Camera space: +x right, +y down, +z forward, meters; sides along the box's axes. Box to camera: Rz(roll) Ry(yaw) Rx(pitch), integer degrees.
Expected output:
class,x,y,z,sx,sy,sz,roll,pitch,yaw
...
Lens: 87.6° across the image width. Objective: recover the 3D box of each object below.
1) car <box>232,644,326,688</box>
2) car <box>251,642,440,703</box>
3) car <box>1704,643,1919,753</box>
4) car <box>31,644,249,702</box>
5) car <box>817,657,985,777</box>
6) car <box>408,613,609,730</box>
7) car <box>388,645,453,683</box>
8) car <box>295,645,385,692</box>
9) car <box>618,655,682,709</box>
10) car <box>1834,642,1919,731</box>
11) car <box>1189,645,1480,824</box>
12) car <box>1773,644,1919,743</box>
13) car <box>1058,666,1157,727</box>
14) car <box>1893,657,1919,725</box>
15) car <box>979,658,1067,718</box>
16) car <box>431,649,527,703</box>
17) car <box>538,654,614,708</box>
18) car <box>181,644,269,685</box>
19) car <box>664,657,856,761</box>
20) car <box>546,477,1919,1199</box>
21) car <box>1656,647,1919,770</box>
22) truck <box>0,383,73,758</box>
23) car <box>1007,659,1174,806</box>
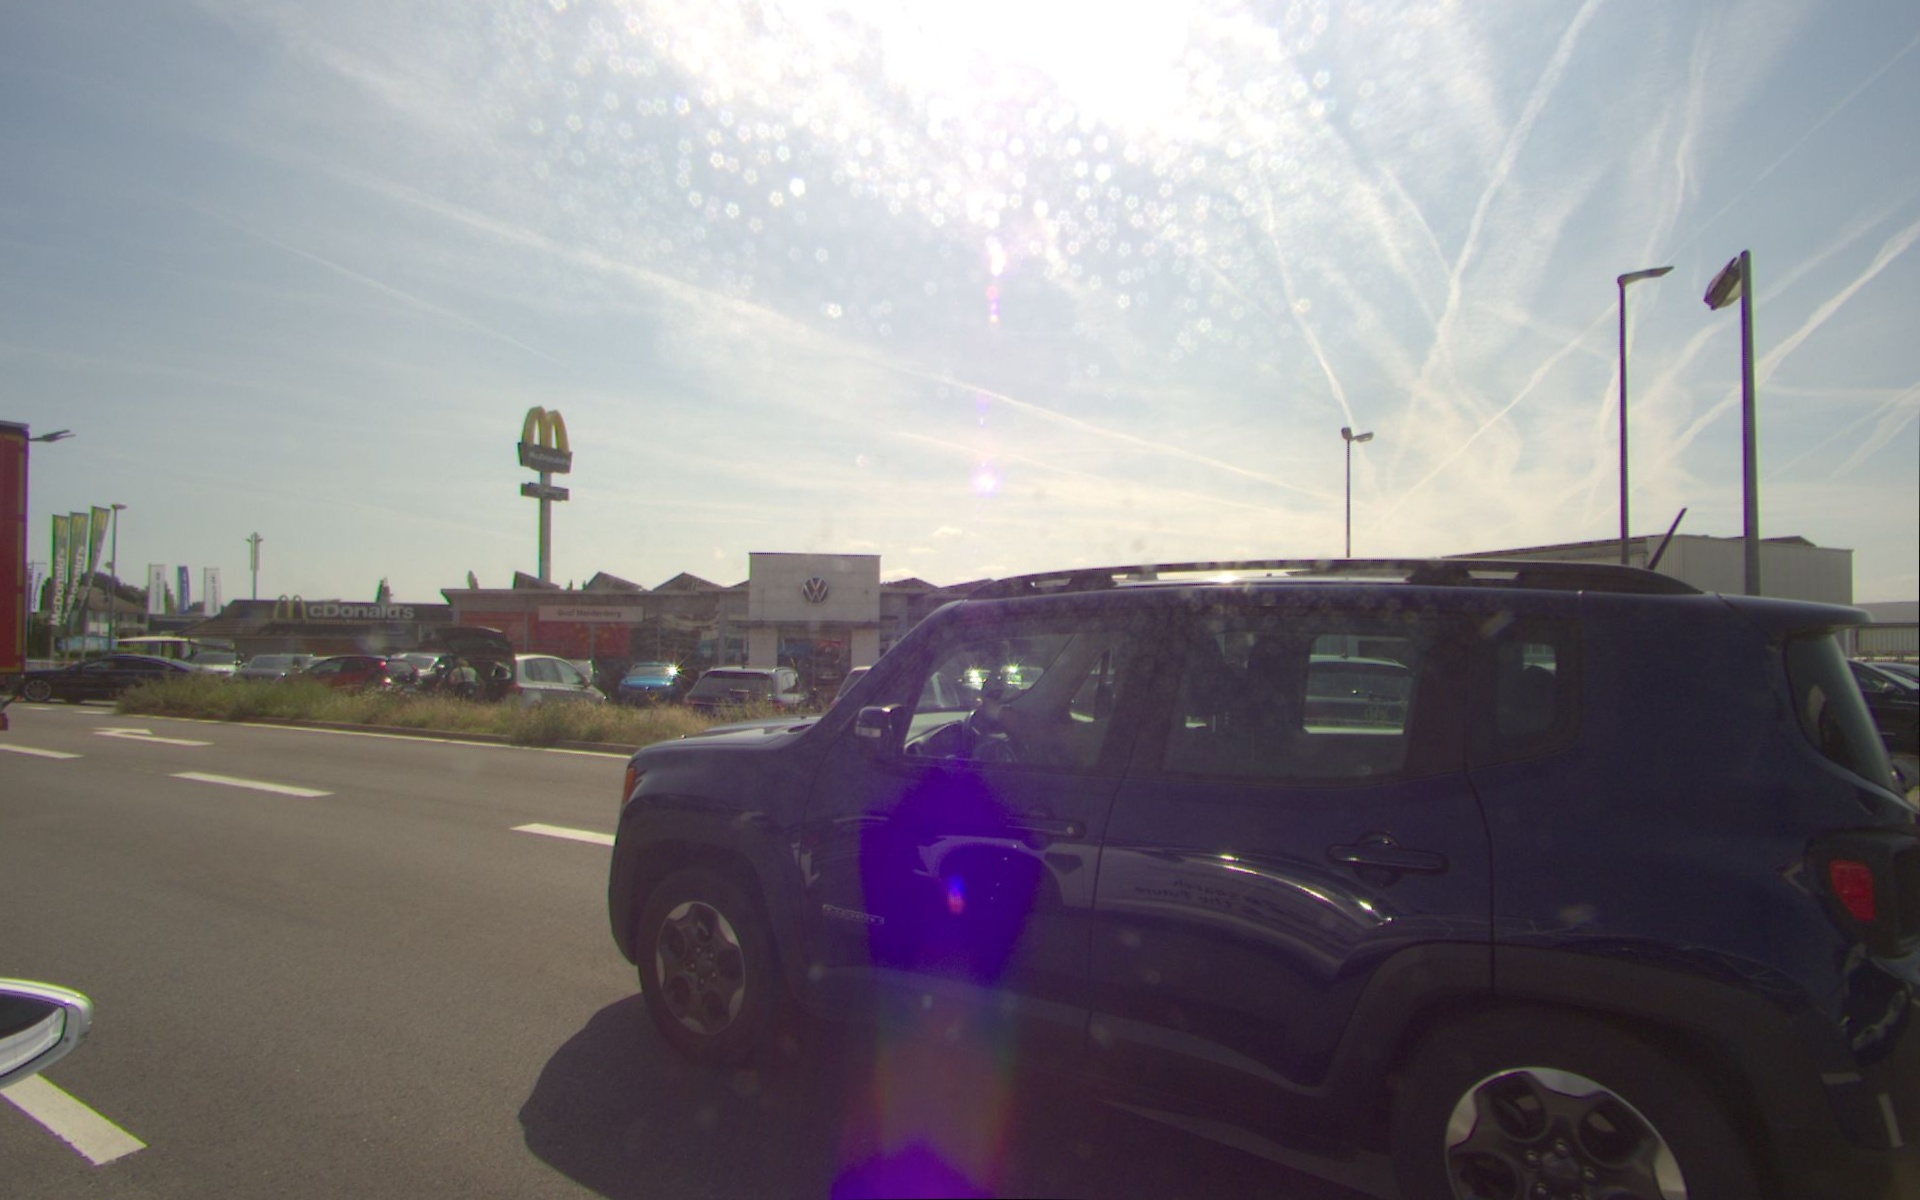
class,x,y,z,sx,sy,sz,roll,pitch,yaw
car,-25.439,2.445,37.543,1.737,1.550,3.626,1,-2,-14
car,-16.640,1.948,27.256,3.922,1.550,2.001,0,-2,3
car,16.025,1.713,18.009,4.176,1.812,1.972,-1,-2,35
car,-22.081,1.951,27.150,4.126,1.473,1.844,1,-2,-16
car,-0.714,1.578,14.589,1.670,1.417,3.847,0,-2,9
car,-8.315,1.272,18.835,1.669,1.945,3.847,0,-2,7
car,-23.682,2.792,44.059,1.656,1.550,3.593,1,-2,-14
car,-21.794,2.387,35.333,1.656,1.550,3.593,1,-2,-14
car,-9.971,2.592,32.386,1.671,1.577,3.784,1,-2,-13
car,20.957,1.796,20.593,1.960,1.812,4.203,2,-3,-36
car,3.806,1.289,10.972,1.705,1.555,4.040,0,-2,0
car,18.593,1.787,19.296,1.960,1.812,4.203,2,-3,-36
car,4.274,2.801,29.651,1.706,1.555,4.036,1,-2,-11
car,23.407,2.037,21.851,1.960,1.526,4.203,2,-3,-36
car,1.785,2.538,29.513,1.706,1.555,3.760,1,-2,-11
car,-15.108,2.363,31.693,1.964,1.550,3.996,1,-2,-14
car,-12.214,2.550,32.087,1.771,1.550,4.223,1,-2,-14
car,-29.665,2.587,40.503,1.733,1.550,3.263,1,-2,-14
car,-3.146,1.696,16.544,1.671,1.417,3.845,0,-2,13
car,0.576,0.682,3.493,3.943,1.707,1.815,-1,-1,32
car,13.995,1.701,16.476,4.176,1.812,1.972,-1,-2,35
truck,-18.446,-0.252,15.171,16.345,4.324,2.953,-1,-2,32
car,1.562,1.600,13.239,1.705,1.555,4.040,0,-2,0
